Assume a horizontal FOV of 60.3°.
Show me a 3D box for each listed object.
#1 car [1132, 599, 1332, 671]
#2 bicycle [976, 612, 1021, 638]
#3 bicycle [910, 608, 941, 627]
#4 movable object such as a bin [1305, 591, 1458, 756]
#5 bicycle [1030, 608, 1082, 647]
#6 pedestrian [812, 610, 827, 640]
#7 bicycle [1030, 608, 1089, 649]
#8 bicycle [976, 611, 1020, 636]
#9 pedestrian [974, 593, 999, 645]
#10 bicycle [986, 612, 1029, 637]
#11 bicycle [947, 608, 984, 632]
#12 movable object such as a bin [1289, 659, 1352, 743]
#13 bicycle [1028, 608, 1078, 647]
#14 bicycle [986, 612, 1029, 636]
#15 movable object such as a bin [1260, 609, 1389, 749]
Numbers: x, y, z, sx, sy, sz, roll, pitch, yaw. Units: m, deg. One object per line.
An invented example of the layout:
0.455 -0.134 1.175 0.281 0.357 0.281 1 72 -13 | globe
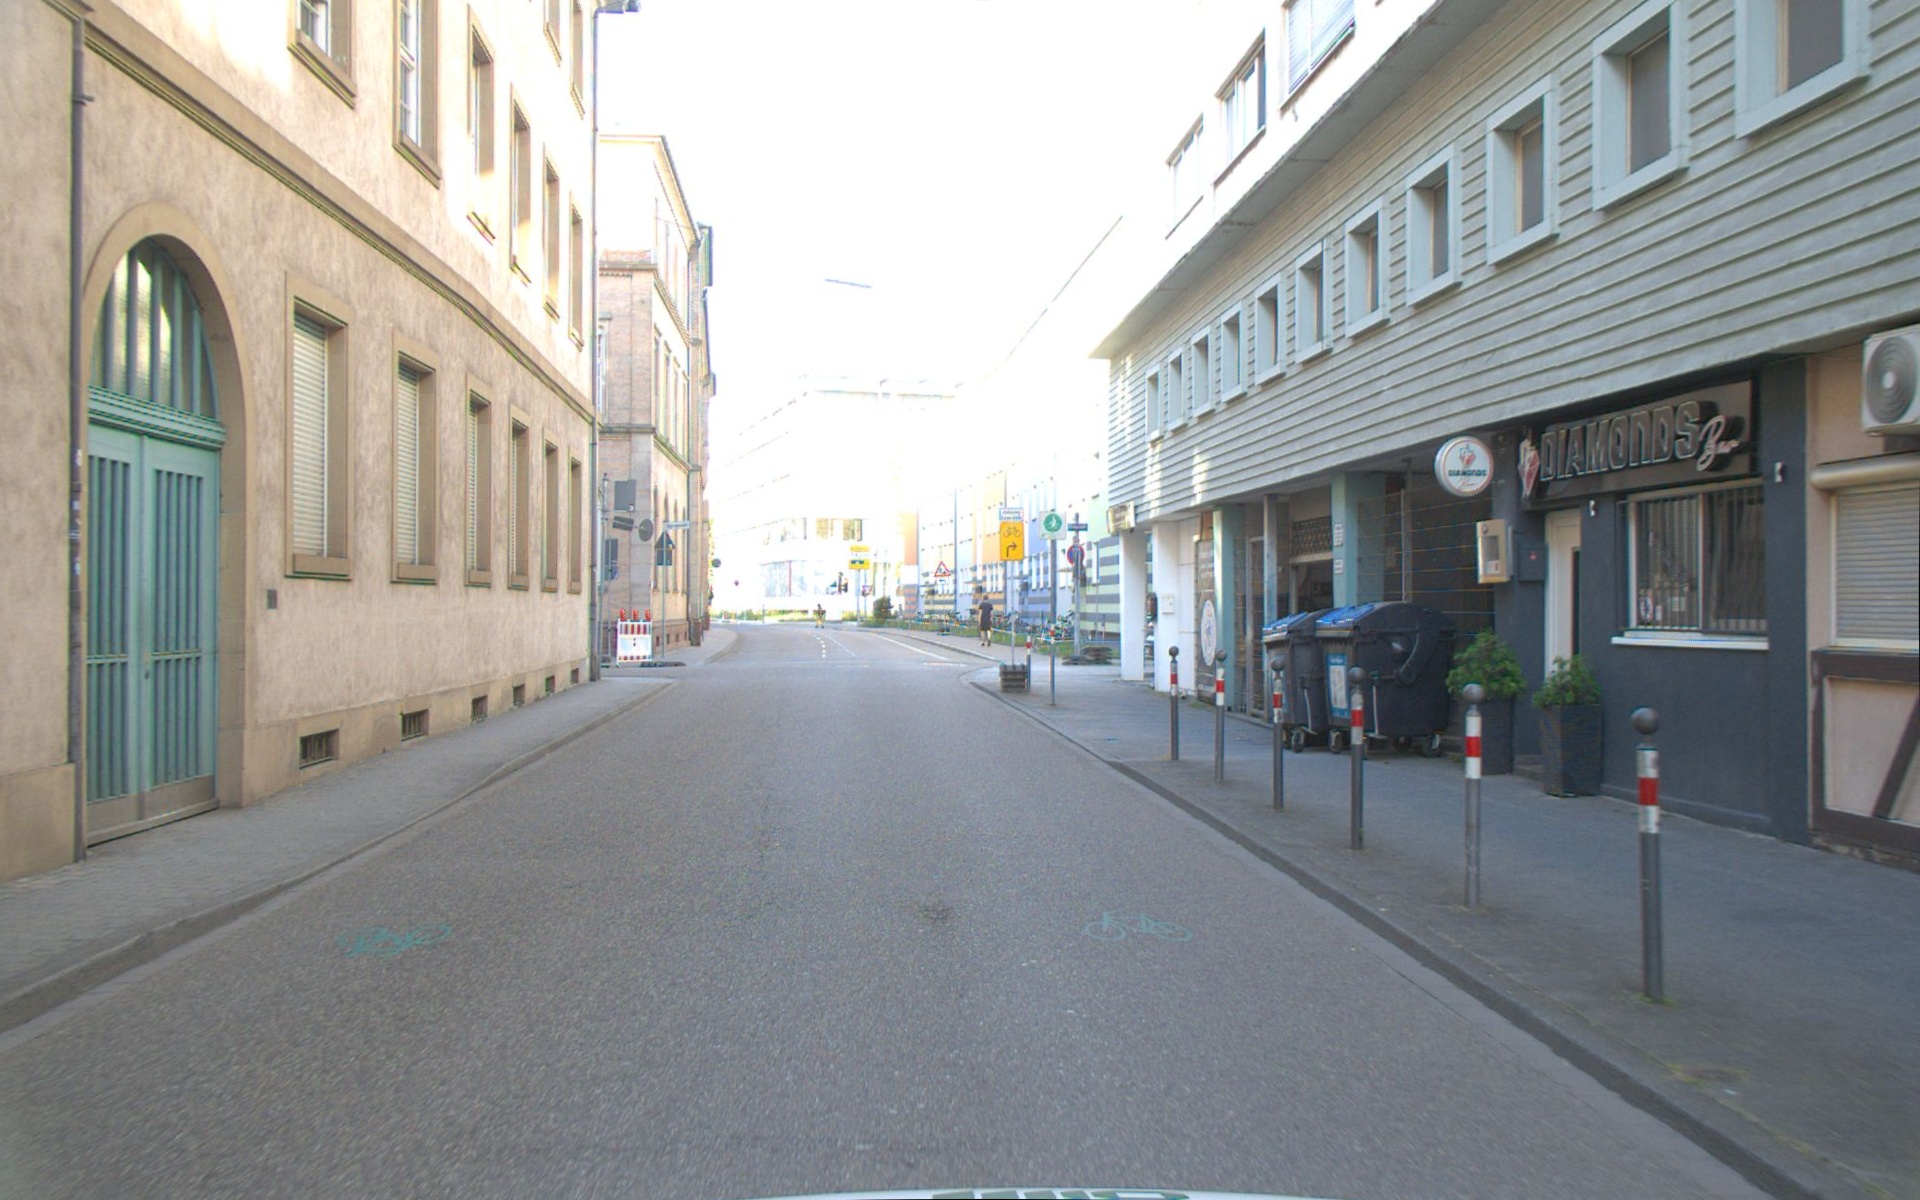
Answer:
5.955 0.754 36.476 4.000 1.508 1.863 0 -1 -6 | car
1.543 0.994 65.858 1.715 0.963 0.551 -1 -1 -7 | bicycle
-2.028 1.012 96.463 1.722 1.021 0.611 -2 -1 -12 | bicycle
4.075 0.710 16.130 0.962 1.506 1.550 -2 -2 -4 | movable object such as a bin
3.086 0.887 53.375 1.614 1.161 0.282 -4 1 -15 | bicycle
-9.664 1.713 113.995 0.880 2.049 0.750 -1 -1 -14 | pedestrian
3.125 0.889 51.980 1.715 1.161 0.551 -3 1 -7 | bicycle
1.535 0.926 66.526 1.715 0.963 0.551 -1 -1 -7 | bicycle
0.924 0.660 58.076 0.683 1.790 1.187 -3 0 -6 | pedestrian
1.932 0.991 67.589 1.714 0.963 0.325 -1 -1 -6 | bicycle
0.251 0.988 82.414 1.776 1.157 0.551 -1 -1 -8 | bicycle
4.061 1.137 18.665 0.545 0.915 0.522 -2 -2 -4 | movable object such as a bin
3.019 0.890 53.642 1.576 1.161 0.236 -4 1 -15 | bicycle
1.969 0.999 68.120 1.715 0.963 0.334 -1 -1 -7 | bicycle
3.864 0.835 17.640 0.962 1.409 1.319 -2 -2 -4 | movable object such as a bin
